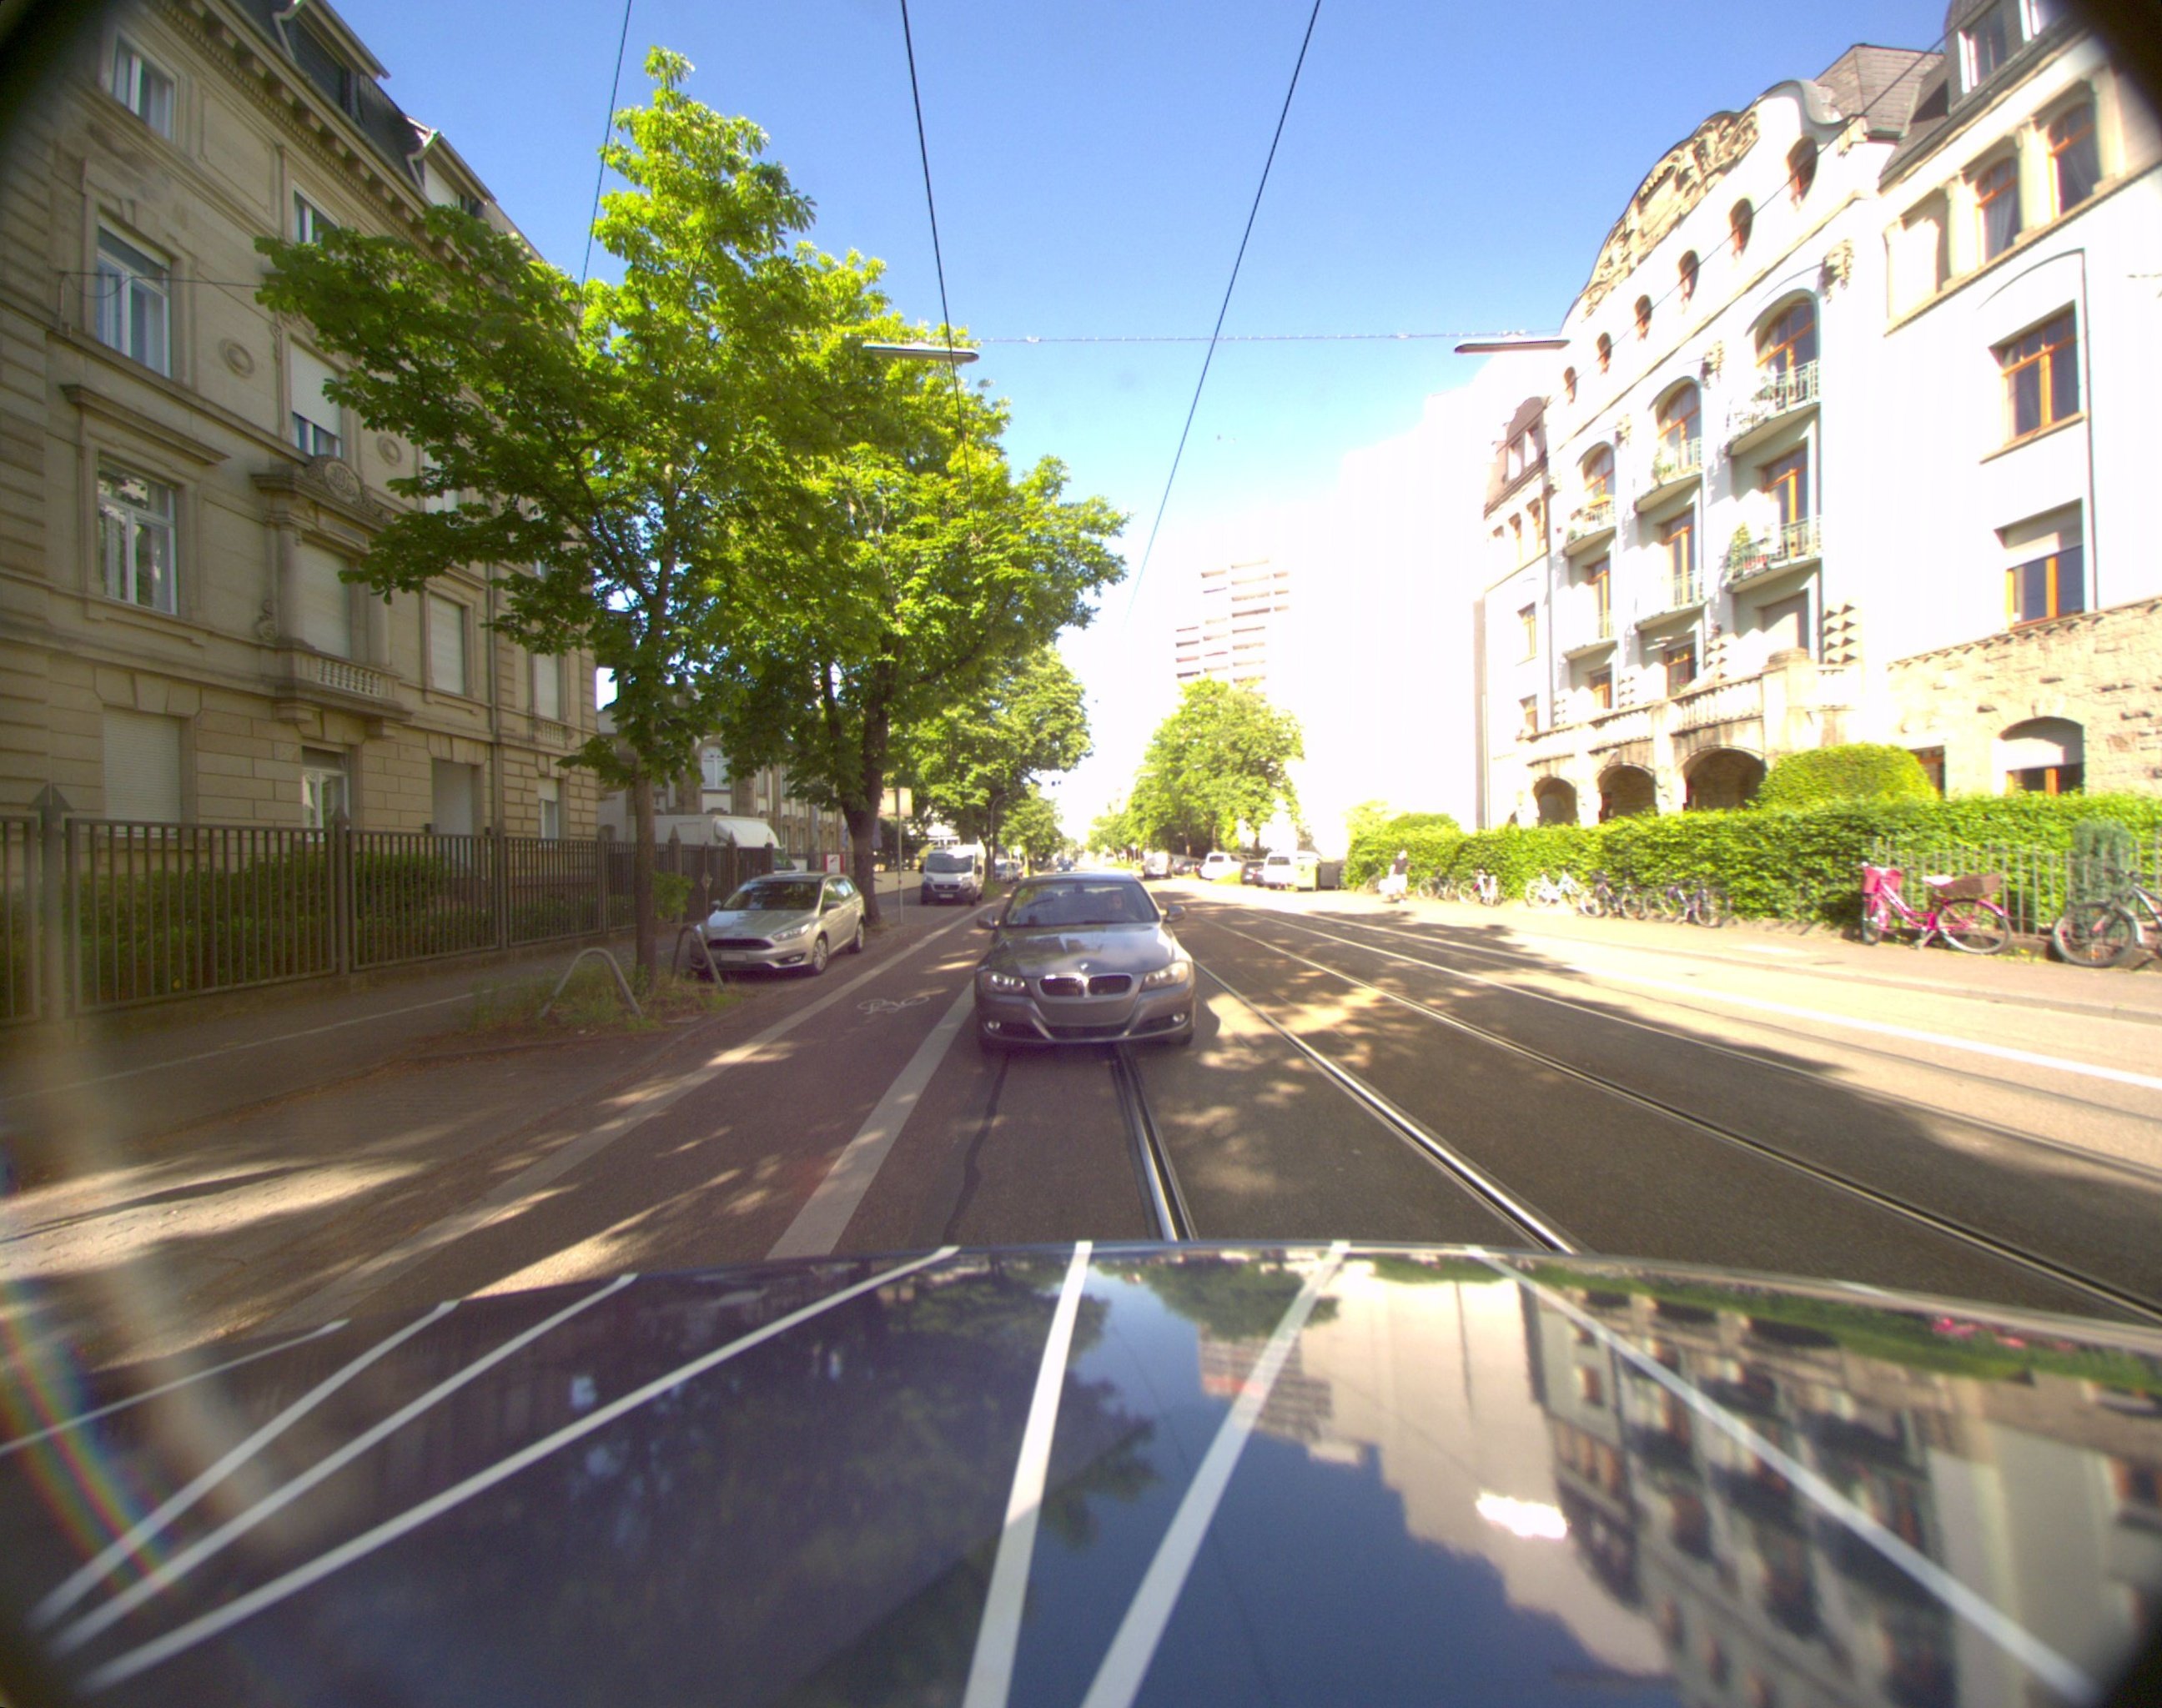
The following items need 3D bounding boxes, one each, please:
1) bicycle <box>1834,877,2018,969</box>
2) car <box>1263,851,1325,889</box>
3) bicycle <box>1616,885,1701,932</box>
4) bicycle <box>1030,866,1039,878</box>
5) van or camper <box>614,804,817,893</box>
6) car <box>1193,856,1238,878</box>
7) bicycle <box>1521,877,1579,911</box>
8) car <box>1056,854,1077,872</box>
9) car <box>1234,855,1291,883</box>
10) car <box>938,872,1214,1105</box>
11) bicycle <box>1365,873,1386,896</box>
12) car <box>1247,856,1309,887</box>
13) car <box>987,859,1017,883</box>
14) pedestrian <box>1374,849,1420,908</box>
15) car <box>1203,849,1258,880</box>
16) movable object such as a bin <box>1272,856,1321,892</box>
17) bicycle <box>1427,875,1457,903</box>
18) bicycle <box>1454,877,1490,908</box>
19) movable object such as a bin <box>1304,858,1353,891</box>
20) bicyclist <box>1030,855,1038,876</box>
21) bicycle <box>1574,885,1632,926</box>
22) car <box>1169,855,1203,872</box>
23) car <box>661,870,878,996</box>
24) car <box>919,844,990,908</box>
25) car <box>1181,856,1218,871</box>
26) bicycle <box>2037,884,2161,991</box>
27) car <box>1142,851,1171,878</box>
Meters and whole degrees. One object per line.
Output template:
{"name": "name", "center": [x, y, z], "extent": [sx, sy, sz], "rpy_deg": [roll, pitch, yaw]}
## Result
{"name": "bicycle", "center": [11.011, 0.855, 9.996], "extent": [0.405, 1.018, 1.816], "rpy_deg": [-2, 1, 1]}
{"name": "car", "center": [10.297, 0.774, 36.644], "extent": [3.194, 1.763, 1.456], "rpy_deg": [1, -2, -45]}
{"name": "bicycle", "center": [10.915, 1.013, 14.424], "extent": [0.405, 0.757, 1.581], "rpy_deg": [-2, 1, 1]}
{"name": "bicycle", "center": [-3.853, 1.475, 63.000], "extent": [0.535, 0.917, 2.057], "rpy_deg": [-2, 1, 1]}
{"name": "van or camper", "center": [-12.165, -0.136, 25.185], "extent": [6.721, 2.612, 2.126], "rpy_deg": [-2, 1, 24]}
{"name": "car", "center": [9.472, 0.909, 53.541], "extent": [2.757, 1.427, 1.458], "rpy_deg": [-2, 1, -16]}
{"name": "bicycle", "center": [11.790, 1.002, 19.101], "extent": [1.262, 0.789, 0.297], "rpy_deg": [-2, 1, 1]}
{"name": "car", "center": [-1.383, 0.859, 74.361], "extent": [1.828, 1.559, 3.999], "rpy_deg": [-2, 1, 1]}
{"name": "car", "center": [10.263, 0.855, 43.022], "extent": [2.757, 1.427, 1.458], "rpy_deg": [-2, 1, -16]}
{"name": "car", "center": [-0.009, 0.986, 7.297], "extent": [1.869, 1.426, 3.999], "rpy_deg": [-2, 1, 1]}
{"name": "bicycle", "center": [10.631, 1.099, 27.453], "extent": [0.297, 0.757, 1.263], "rpy_deg": [-2, 1, 1]}
{"name": "car", "center": [10.267, 0.893, 39.655], "extent": [2.757, 1.427, 1.458], "rpy_deg": [-2, 1, -16]}
{"name": "car", "center": [-5.535, 1.187, 53.759], "extent": [1.866, 1.541, 4.101], "rpy_deg": [-2, 1, -3]}
{"name": "pedestrian", "center": [9.418, 0.716, 22.663], "extent": [0.869, 1.619, 0.870], "rpy_deg": [-6, 1, 1]}
{"name": "car", "center": [9.864, 0.684, 50.078], "extent": [3.450, 1.860, 1.918], "rpy_deg": [-3, 1, -44]}
{"name": "movable object such as a bin", "center": [9.401, 0.847, 33.239], "extent": [1.512, 1.424, 2.096], "rpy_deg": [-2, 1, 1]}
{"name": "bicycle", "center": [10.763, 1.036, 22.700], "extent": [0.297, 0.757, 1.263], "rpy_deg": [-2, 1, 1]}
{"name": "bicycle", "center": [10.741, 1.057, 20.909], "extent": [0.318, 0.757, 1.263], "rpy_deg": [-2, 1, 1]}
{"name": "movable object such as a bin", "center": [11.116, 0.902, 34.208], "extent": [1.501, 1.309, 2.096], "rpy_deg": [-2, 1, 1]}
{"name": "bicyclist", "center": [-3.886, 0.926, 62.938], "extent": [0.532, 1.660, 0.878], "rpy_deg": [-2, 1, 1]}
{"name": "bicycle", "center": [10.915, 1.059, 15.930], "extent": [0.339, 0.757, 1.263], "rpy_deg": [-2, 1, 1]}
{"name": "car", "center": [9.669, 0.852, 69.895], "extent": [2.757, 1.417, 1.226], "rpy_deg": [-2, 1, -16]}
{"name": "car", "center": [-4.709, 1.092, 12.267], "extent": [1.877, 1.534, 4.364], "rpy_deg": [0, 1, -3]}
{"name": "car", "center": [-4.979, 0.773, 30.779], "extent": [2.132, 2.329, 5.803], "rpy_deg": [0, 1, -3]}
{"name": "car", "center": [9.765, 0.803, 62.694], "extent": [2.757, 1.083, 1.226], "rpy_deg": [-2, 1, -16]}
{"name": "bicycle", "center": [11.084, 0.863, 7.747], "extent": [0.405, 1.018, 1.816], "rpy_deg": [-2, 1, 1]}
{"name": "car", "center": [5.831, 0.751, 58.421], "extent": [1.997, 1.893, 4.002], "rpy_deg": [-2, 1, 7]}
